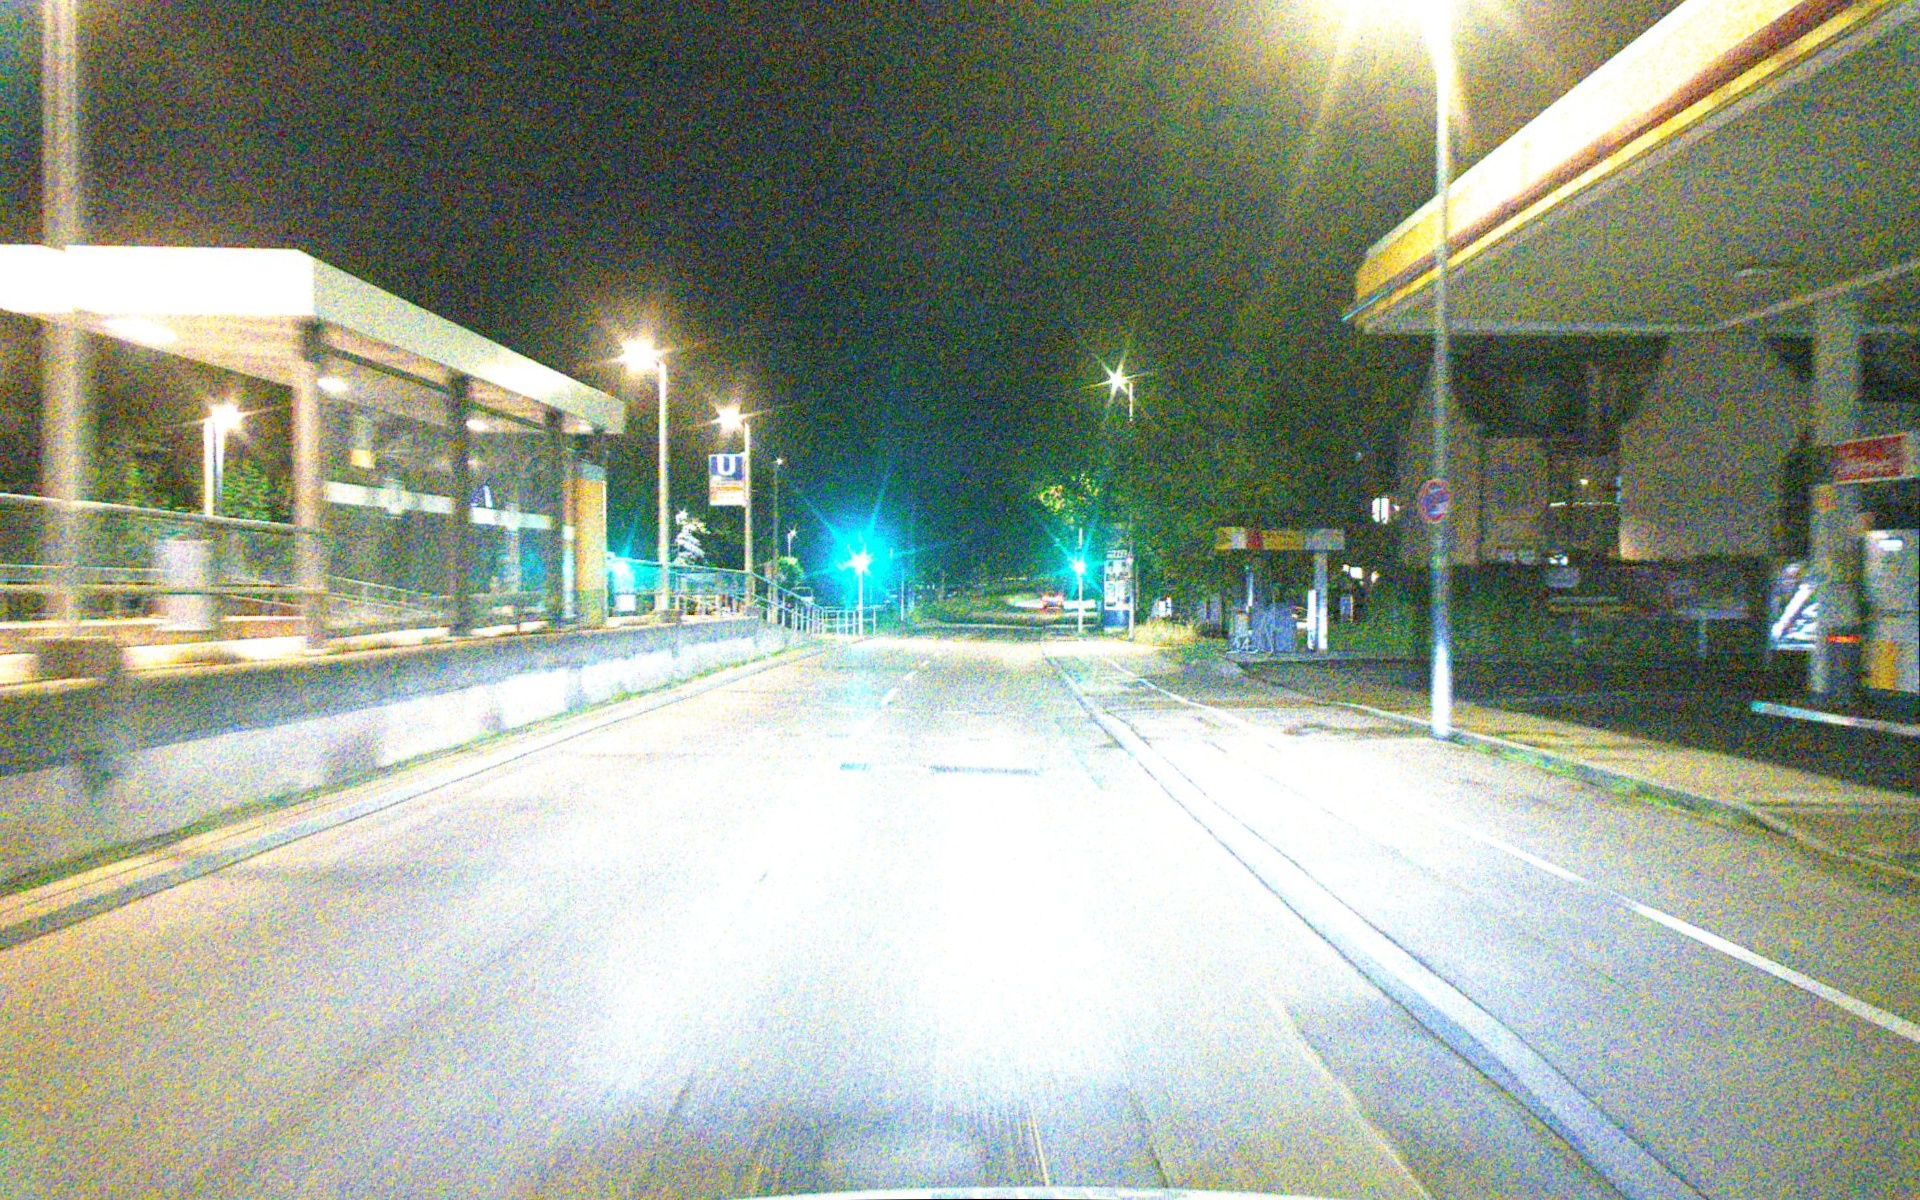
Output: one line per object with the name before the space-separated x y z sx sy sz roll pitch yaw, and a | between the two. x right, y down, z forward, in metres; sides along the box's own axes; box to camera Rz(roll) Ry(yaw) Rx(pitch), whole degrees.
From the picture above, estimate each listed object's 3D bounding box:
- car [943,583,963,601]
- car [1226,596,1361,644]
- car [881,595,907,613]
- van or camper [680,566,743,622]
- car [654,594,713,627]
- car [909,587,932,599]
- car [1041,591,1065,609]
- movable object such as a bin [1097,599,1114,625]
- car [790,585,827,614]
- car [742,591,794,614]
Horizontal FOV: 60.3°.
car | -0.877 -1.043 209.801 2.048 2.048 4.003 -4 1 5
car | 9.888 0.585 49.224 3.686 1.378 1.859 0 0 2
car | -6.356 0.364 159.803 1.951 1.656 4.680 0 0 5
van or camper | -12.667 -0.340 84.638 2.226 2.693 5.665 -2 0 1
car | -13.040 0.467 78.215 1.611 1.362 4.545 -4 0 4
car | -4.302 -0.763 179.470 1.951 1.361 5.435 0 0 5
car | 8.407 -0.013 149.619 2.116 1.610 4.014 1 0 2
movable object such as a bin | 6.883 0.563 78.199 0.708 1.222 0.720 0 0 12
car | -10.215 -0.049 111.614 1.818 1.937 4.881 0 0 2
car | -11.615 0.166 100.096 2.966 1.349 1.534 0 0 0
